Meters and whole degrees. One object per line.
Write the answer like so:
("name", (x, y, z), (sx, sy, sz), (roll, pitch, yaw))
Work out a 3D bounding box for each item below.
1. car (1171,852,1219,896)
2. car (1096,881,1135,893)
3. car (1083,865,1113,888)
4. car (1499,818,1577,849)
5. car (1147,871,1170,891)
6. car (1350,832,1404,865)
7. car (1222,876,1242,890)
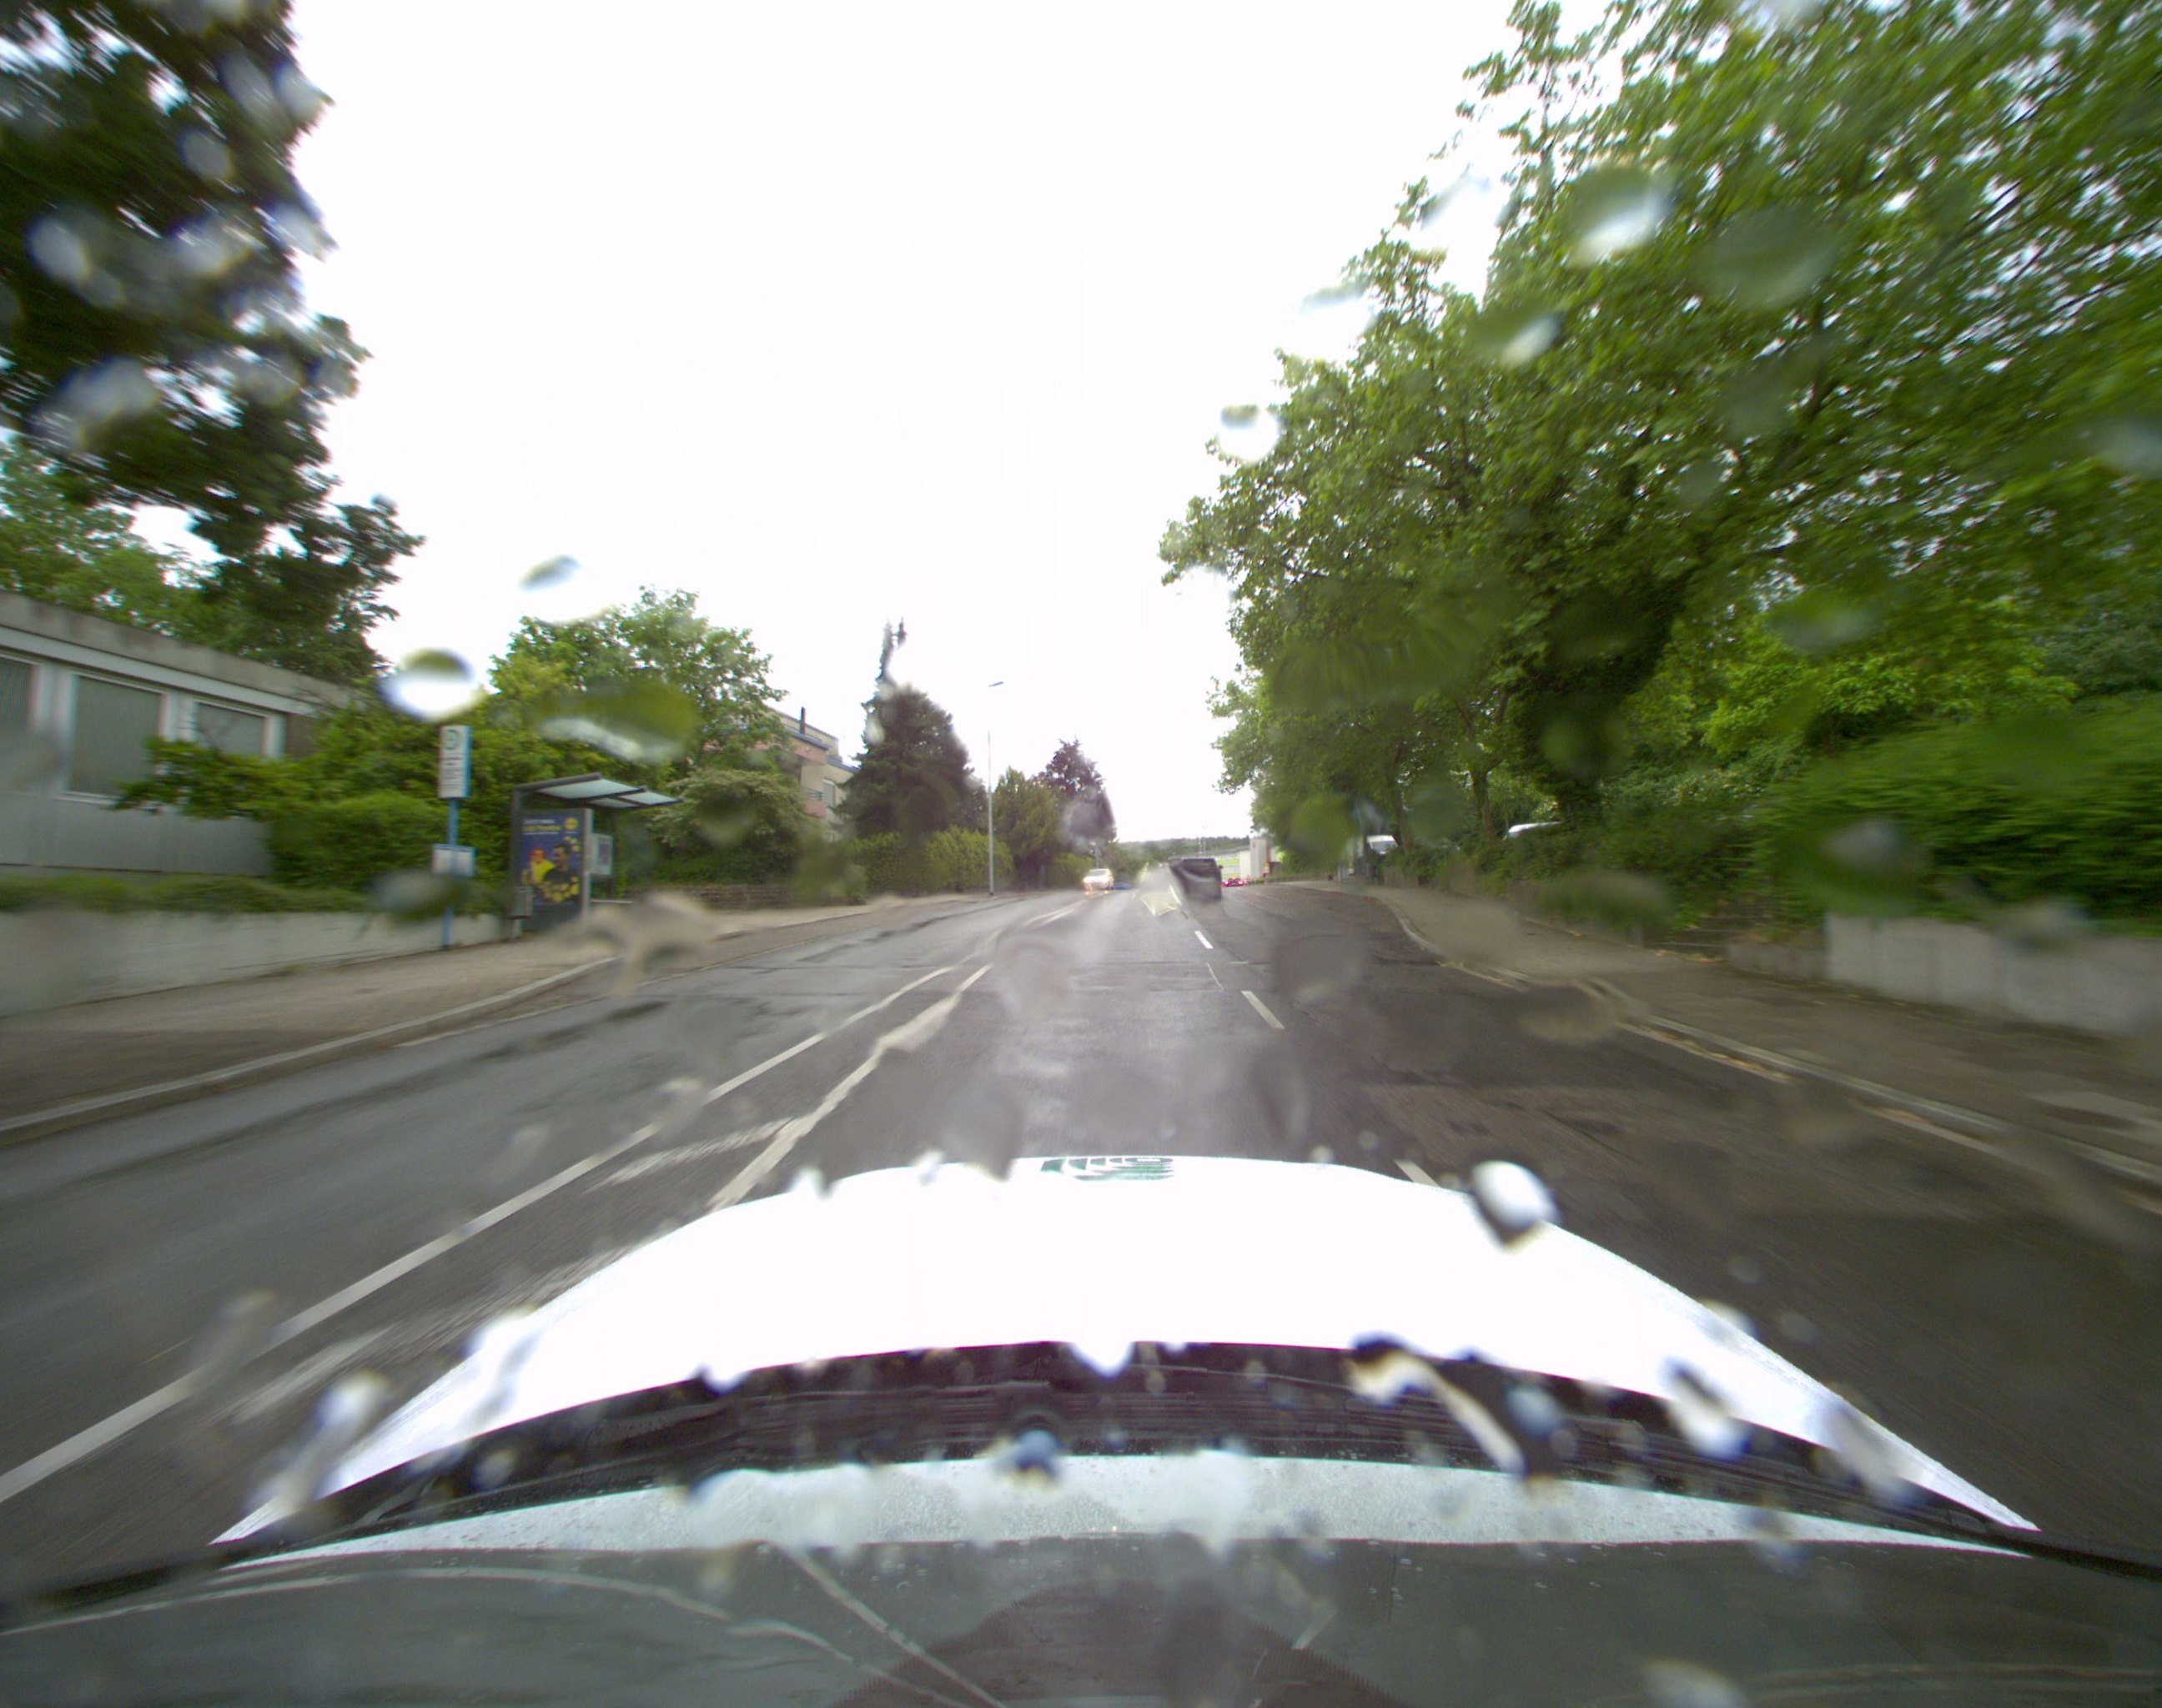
("car", (4.469, 0.727, 32.181), (1.780, 1.603, 4.261), (0, 0, 7))
("car", (4.128, 3.881, 96.207), (4.458, 1.362, 1.809), (0, -2, 7))
("car", (1.139, 1.489, 54.110), (1.677, 1.454, 3.404), (-2, -1, 6))
("car", (31.011, -1.351, 55.235), (5.213, 2.013, 1.982), (0, 0, -26))
("car", (8.273, 2.847, 86.792), (1.852, 1.917, 5.043), (-4, -2, 10))
("car", (21.403, -0.358, 59.082), (2.038, 2.284, 5.015), (0, 0, -1))
("car", (16.373, 3.106, 88.385), (1.982, 1.442, 4.009), (-1, -2, 9))
